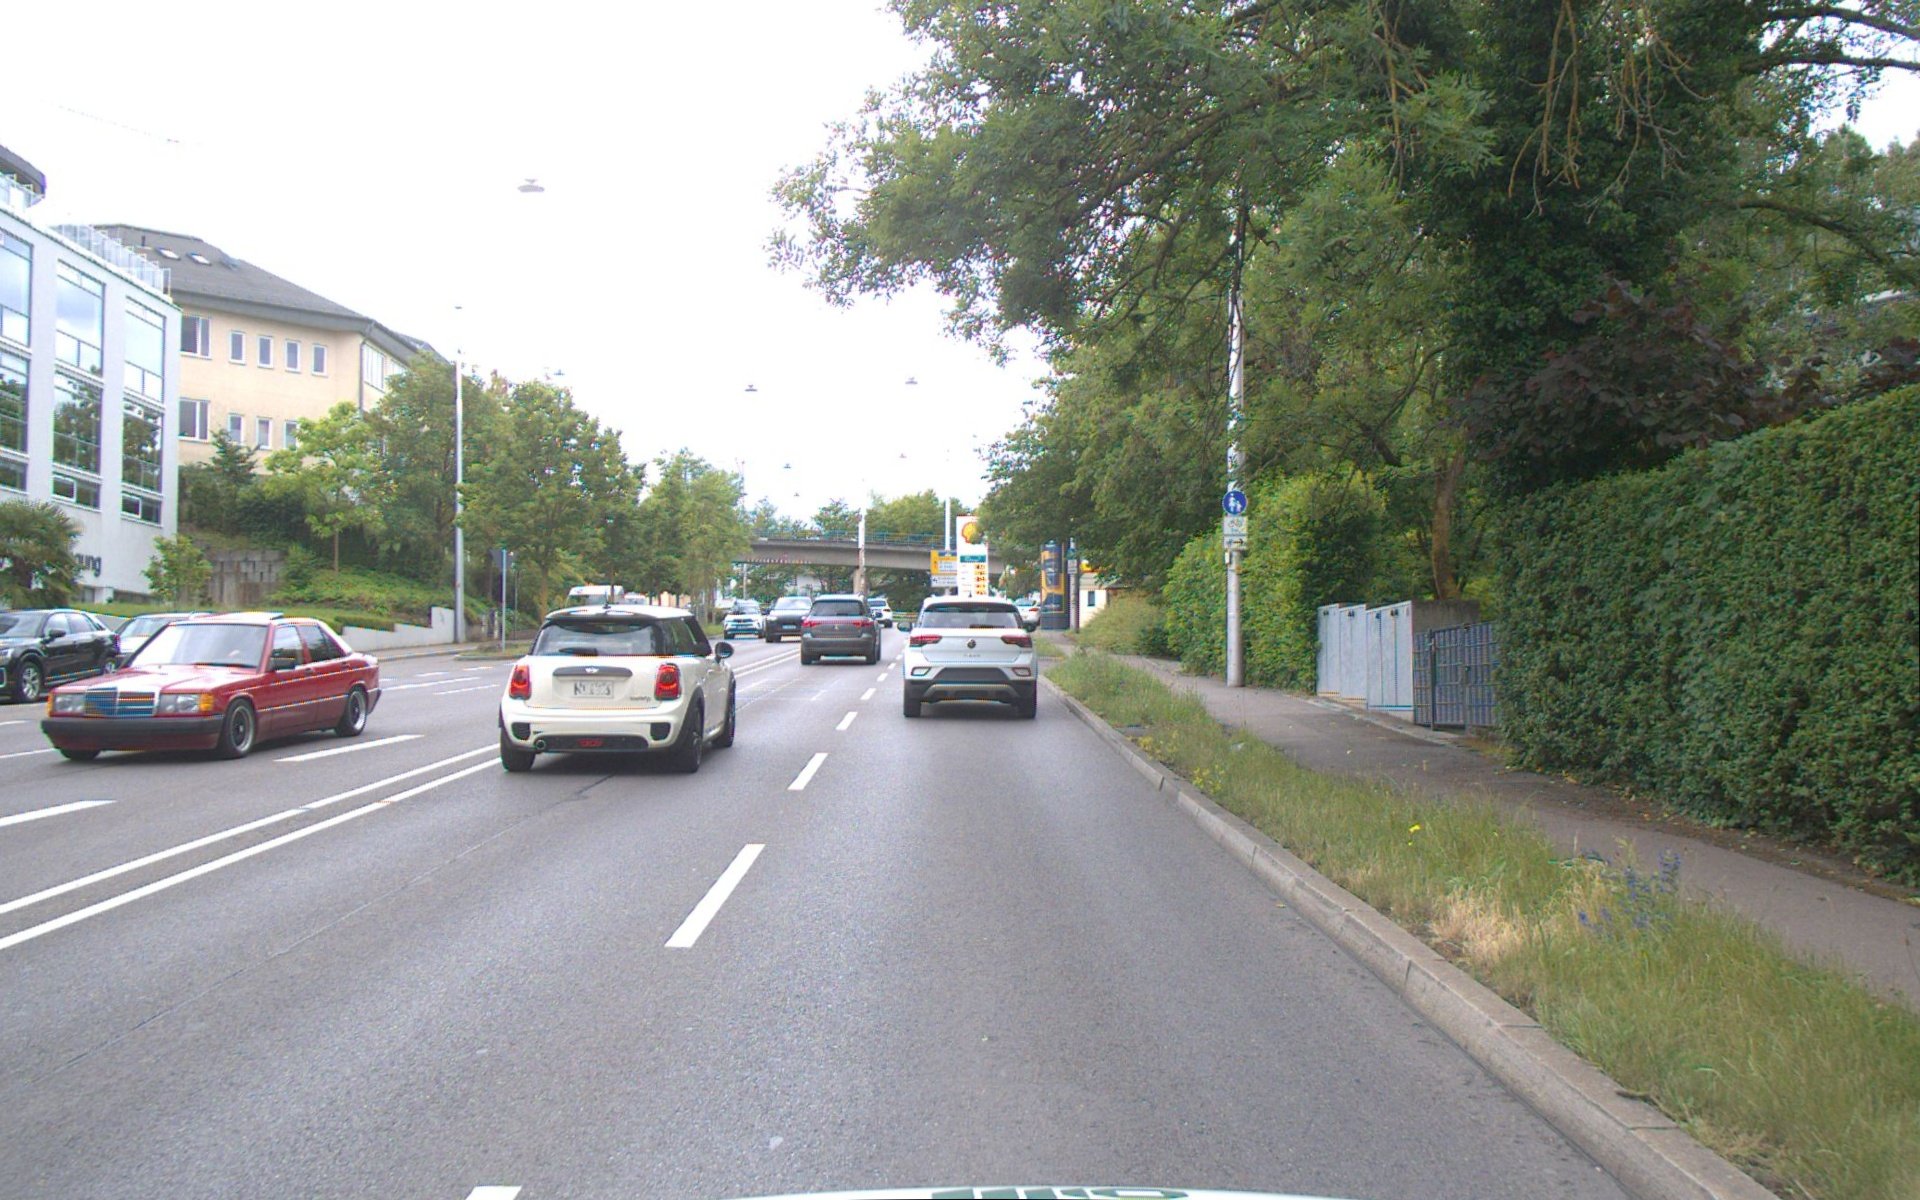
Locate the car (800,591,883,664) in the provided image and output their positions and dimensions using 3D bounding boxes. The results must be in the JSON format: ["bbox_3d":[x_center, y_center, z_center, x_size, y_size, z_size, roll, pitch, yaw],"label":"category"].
[{"bbox_3d":[-2.868,0.646,40.804,1.776,1.681,4.635,0,0,-1],"label":"car"}]

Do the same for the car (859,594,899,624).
[{"bbox_3d":[-4.691,0.491,94.916,1.823,1.681,4.626,0,0,-9],"label":"car"}]

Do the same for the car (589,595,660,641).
[{"bbox_3d":[-12.711,0.658,62.917,2.028,1.685,4.689,0,0,-4],"label":"car"}]

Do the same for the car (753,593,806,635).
[{"bbox_3d":[-7.010,0.545,64.650,1.858,1.569,4.689,0,0,-4],"label":"car"}]

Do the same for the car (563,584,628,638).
[{"bbox_3d":[-16.660,0.490,75.890,2.027,2.346,5.462,0,0,-3],"label":"car"}]

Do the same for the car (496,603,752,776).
[{"bbox_3d":[-3.011,0.747,15.494,1.594,1.418,3.566,0,0,1],"label":"car"}]

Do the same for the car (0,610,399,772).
[{"bbox_3d":[-7.441,0.801,16.768,1.705,1.376,4.847,0,0,2],"label":"car"}]

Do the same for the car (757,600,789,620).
[{"bbox_3d":[-14.977,0.770,132.316,1.864,1.569,4.674,0,0,-15],"label":"car"}]

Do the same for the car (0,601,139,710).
[{"bbox_3d":[-15.428,0.855,27.395,1.735,1.662,3.915,0,0,-1],"label":"car"}]

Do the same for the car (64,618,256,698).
[{"bbox_3d":[-15.569,1.088,32.440,1.734,1.432,4.142,0,0,0],"label":"car"}]

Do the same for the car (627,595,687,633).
[{"bbox_3d":[-13.085,0.584,71.726,2.028,1.608,4.689,0,0,-4],"label":"car"}]

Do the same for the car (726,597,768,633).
[{"bbox_3d":[-9.658,0.667,75.168,1.860,1.569,4.685,0,0,-7],"label":"car"}]

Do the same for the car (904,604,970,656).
[{"bbox_3d":[-0.806,0.987,54.654,1.836,1.527,4.550,3,-1,-4],"label":"car"}]

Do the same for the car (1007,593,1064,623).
[{"bbox_3d":[3.905,0.399,84.796,1.819,1.527,4.057,0,0,19],"label":"car"}]

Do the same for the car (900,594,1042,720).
[{"bbox_3d":[0.115,0.706,22.544,1.774,1.566,3.689,0,0,-1],"label":"car"}]
